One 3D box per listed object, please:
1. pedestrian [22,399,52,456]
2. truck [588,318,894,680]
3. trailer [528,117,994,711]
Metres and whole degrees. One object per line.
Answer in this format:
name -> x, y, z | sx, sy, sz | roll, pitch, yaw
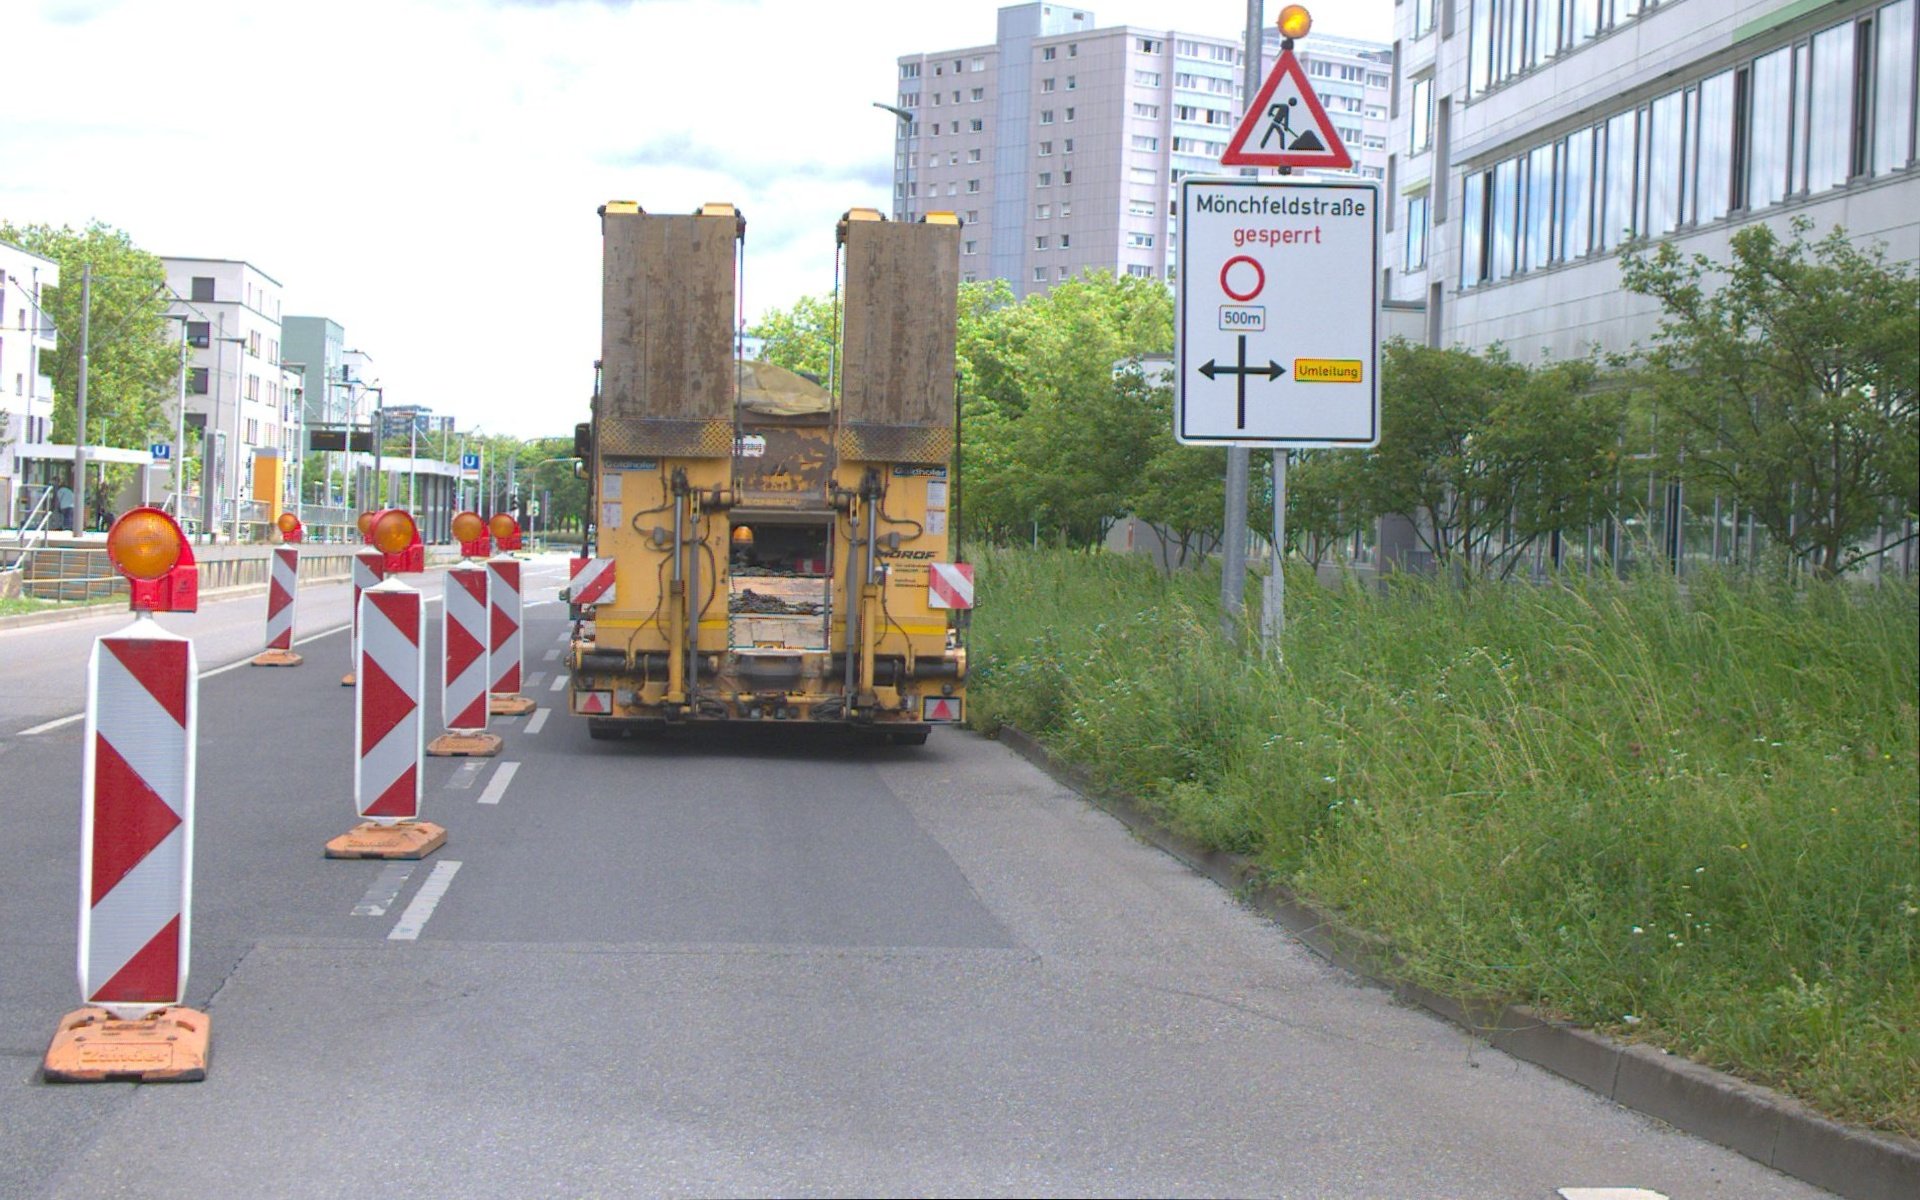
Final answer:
pedestrian -> -28.765, -5.370, 107.092 | 0.677, 1.719, 0.487 | 3, -1, 41
truck -> -2.360, -1.017, 36.592 | 2.753, 3.302, 8.353 | 2, 1, -4
trailer -> -1.608, -1.239, 26.817 | 2.729, 3.546, 11.255 | 2, 1, -4
